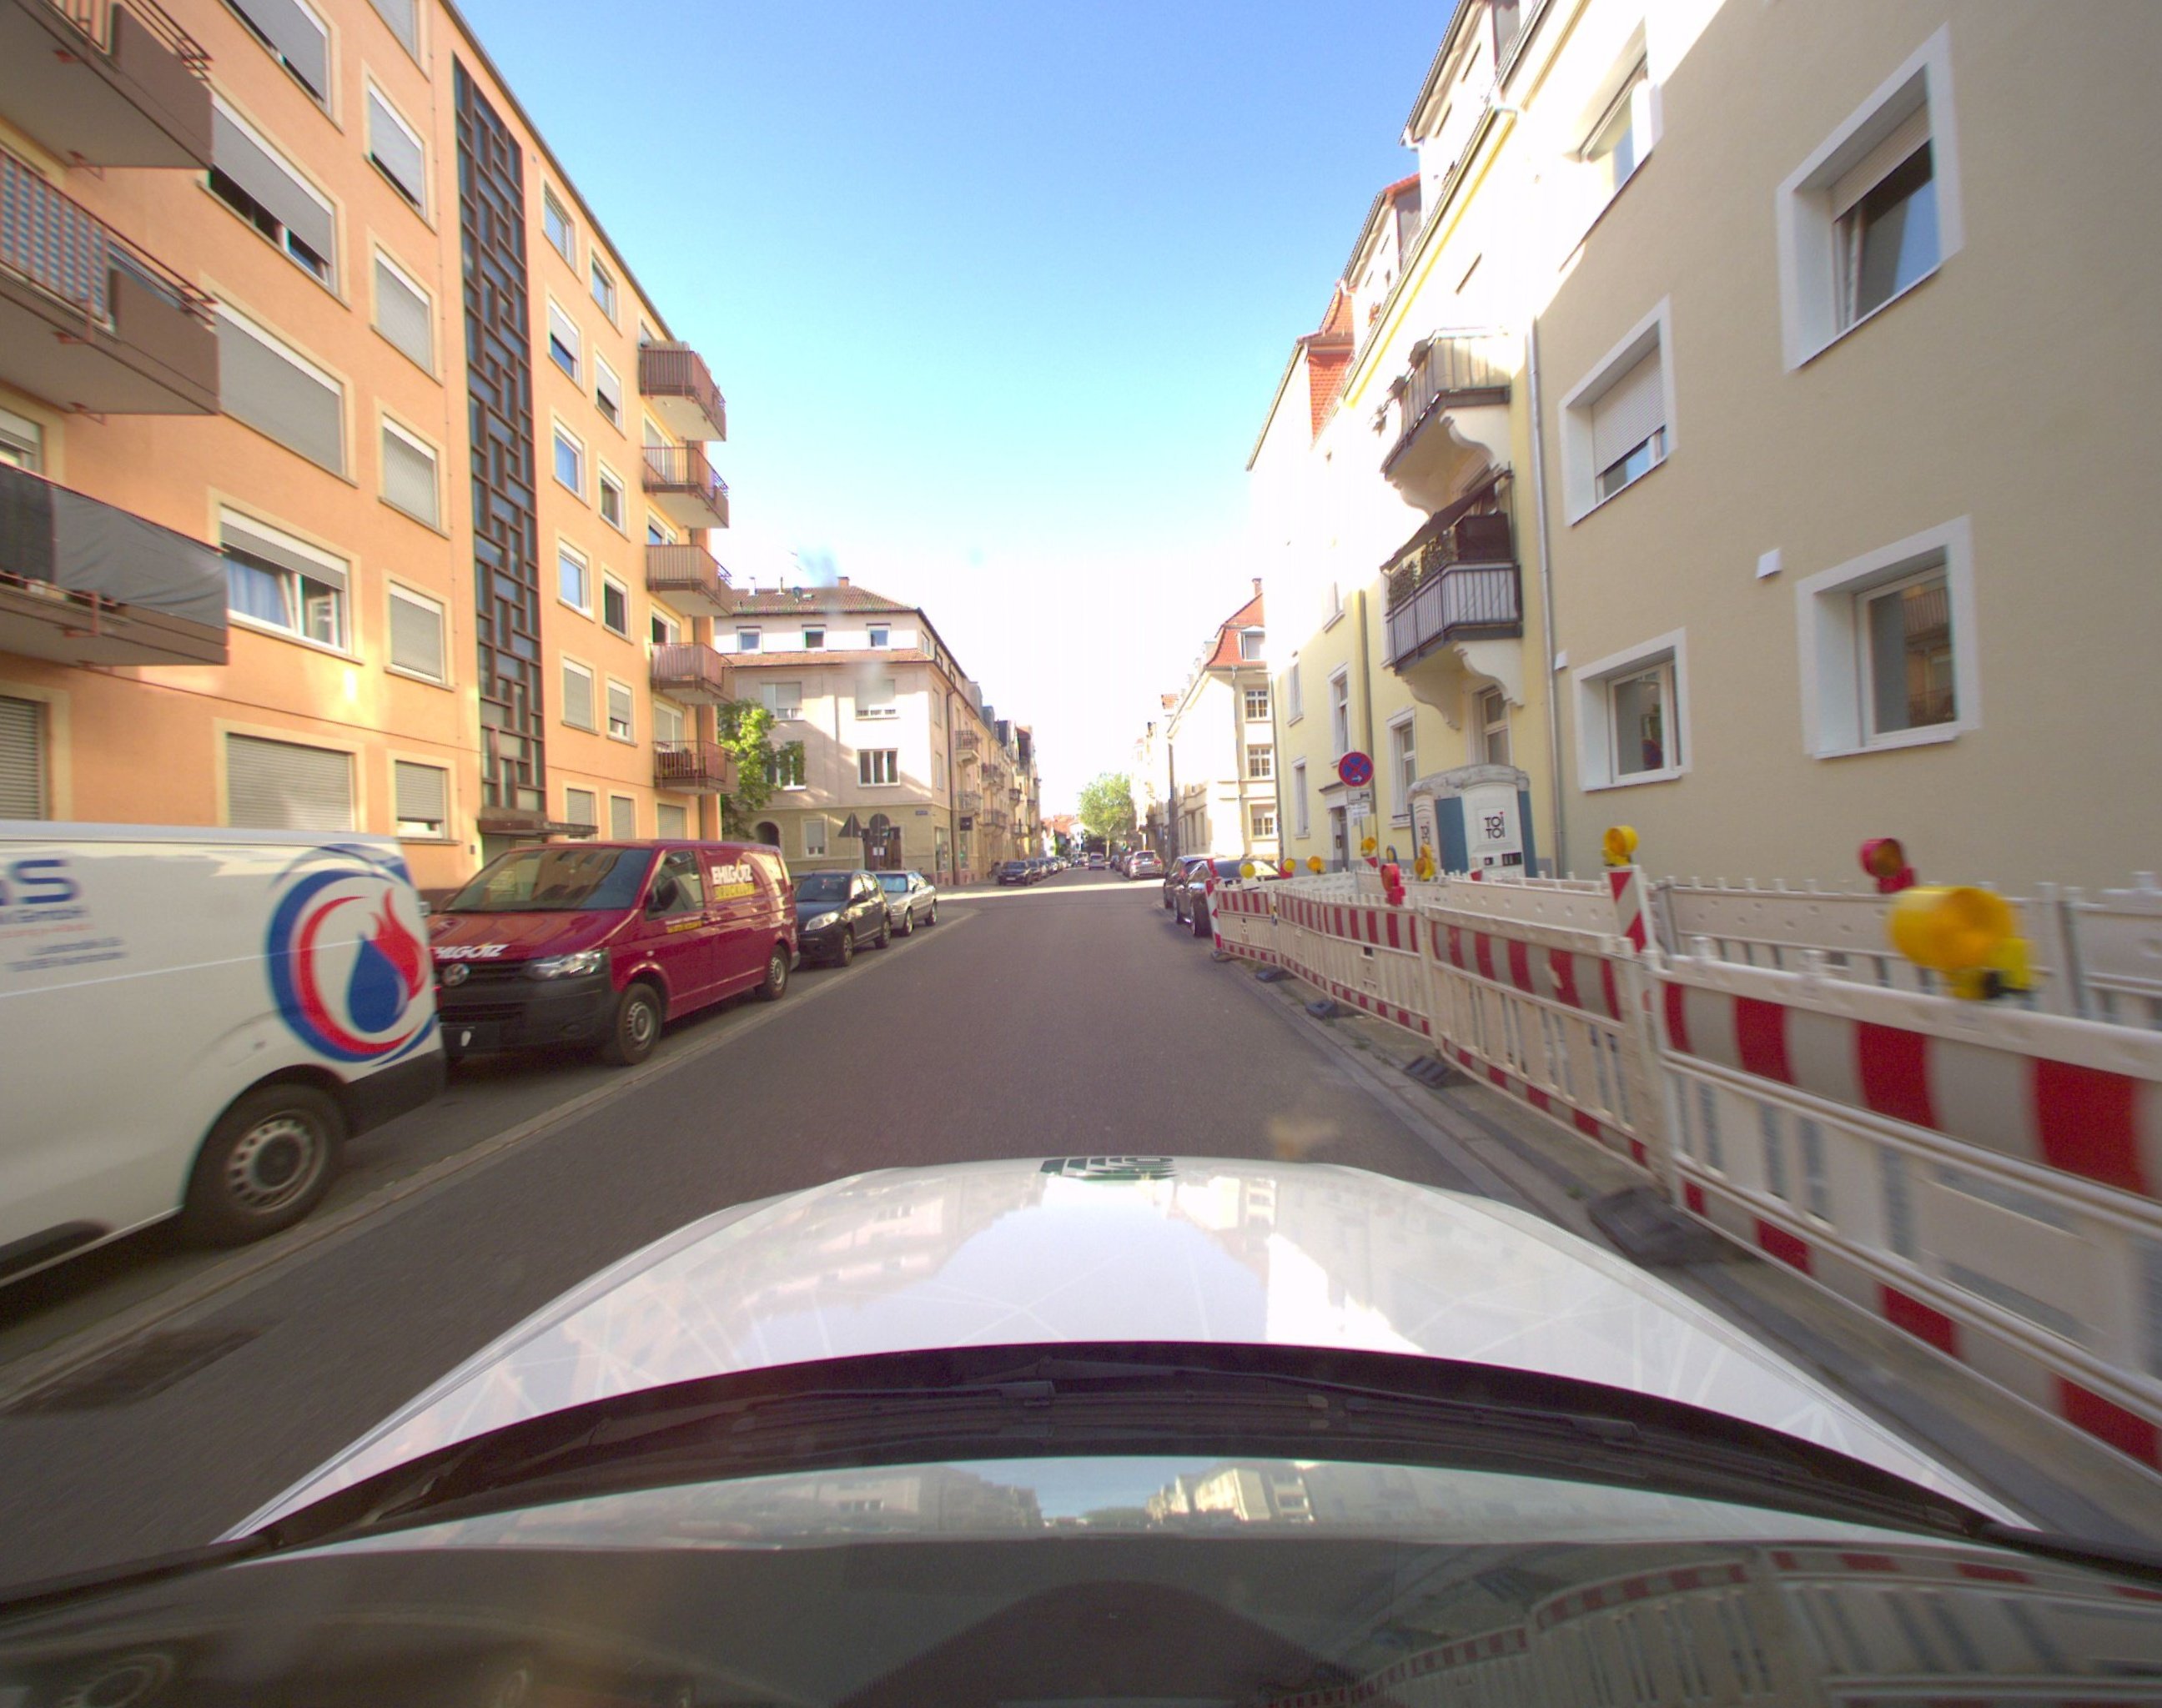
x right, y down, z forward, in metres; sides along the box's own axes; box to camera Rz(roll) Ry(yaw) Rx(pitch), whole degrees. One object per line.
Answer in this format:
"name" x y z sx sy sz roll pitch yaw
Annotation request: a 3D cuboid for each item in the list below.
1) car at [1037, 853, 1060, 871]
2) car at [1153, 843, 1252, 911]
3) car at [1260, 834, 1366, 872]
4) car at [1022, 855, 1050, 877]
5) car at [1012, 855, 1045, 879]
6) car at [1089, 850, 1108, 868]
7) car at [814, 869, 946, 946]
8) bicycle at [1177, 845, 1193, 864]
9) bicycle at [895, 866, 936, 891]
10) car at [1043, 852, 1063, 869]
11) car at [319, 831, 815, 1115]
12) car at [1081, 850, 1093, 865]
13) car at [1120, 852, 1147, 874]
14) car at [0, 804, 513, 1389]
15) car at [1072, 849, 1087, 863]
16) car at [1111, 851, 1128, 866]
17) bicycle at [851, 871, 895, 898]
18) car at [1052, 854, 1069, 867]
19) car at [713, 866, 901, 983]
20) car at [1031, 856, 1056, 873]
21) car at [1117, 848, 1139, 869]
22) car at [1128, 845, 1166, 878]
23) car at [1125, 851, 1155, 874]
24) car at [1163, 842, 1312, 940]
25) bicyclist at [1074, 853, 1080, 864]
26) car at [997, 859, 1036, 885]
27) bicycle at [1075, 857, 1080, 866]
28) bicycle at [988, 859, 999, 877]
"car" -3.115 0.798 78.497 1.997 1.619 4.486 -2 -1 0
"car" 3.148 0.570 21.914 1.759 1.470 4.081 -6 0 -3
"car" 11.187 -0.028 39.503 4.532 1.468 1.824 -4 -2 -6
"car" -3.575 0.937 65.337 1.997 1.619 4.486 -2 -1 0
"car" -3.673 0.931 57.473 1.997 1.582 4.486 -2 -1 0
"car" 1.878 0.568 88.887 1.997 1.914 4.487 -2 -1 1
"car" -4.471 1.134 18.818 1.756 1.377 4.479 -3 0 1
"bicycle" 7.162 0.005 56.045 0.759 1.246 2.592 -4 0 1
"bicycle" -8.362 1.240 41.207 1.896 1.135 0.647 -3 1 -7
"car" -3.014 0.742 89.537 1.997 1.788 4.486 -2 -1 0
"car" -4.459 0.837 8.254 1.757 1.925 4.935 -3 0 0
"car" 1.132 0.648 147.585 1.832 2.534 4.176 -5 -2 1
"car" 4.032 0.718 62.751 1.832 1.431 4.029 -5 -2 1
"car" -4.575 0.844 2.379 1.969 1.925 5.309 -3 0 0
"car" -0.234 0.333 118.154 1.997 2.000 4.486 -2 -1 0
"car" 4.439 0.521 94.381 1.832 1.431 4.029 -5 -2 1
"bicycle" -9.846 1.436 38.572 1.893 1.135 0.526 -4 1 -2
"car" -2.598 0.855 104.500 1.997 1.605 4.486 -2 -1 0
"car" -4.435 1.056 13.856 1.757 1.502 3.999 -4 0 -1
"car" -3.365 0.947 73.934 1.972 1.482 4.327 -2 -1 0
"car" 4.318 0.443 75.550 1.832 1.787 4.029 -4 -2 1
"car" 3.719 0.453 46.676 1.905 1.644 4.776 -5 -2 3
"car" 4.099 0.629 57.360 1.832 1.431 4.029 -5 -2 1
"car" 2.895 0.618 16.269 1.796 1.470 5.109 -6 0 -1
"bicyclist" -0.512 0.641 109.883 0.660 1.385 0.754 -5 -1 0
"car" -3.660 1.012 46.908 1.673 1.426 4.276 -2 -1 2
"bicycle" -0.491 1.019 109.937 0.660 1.019 2.066 -5 -1 0
"bicycle" -6.728 1.072 62.793 0.539 1.301 1.867 -3 0 2
